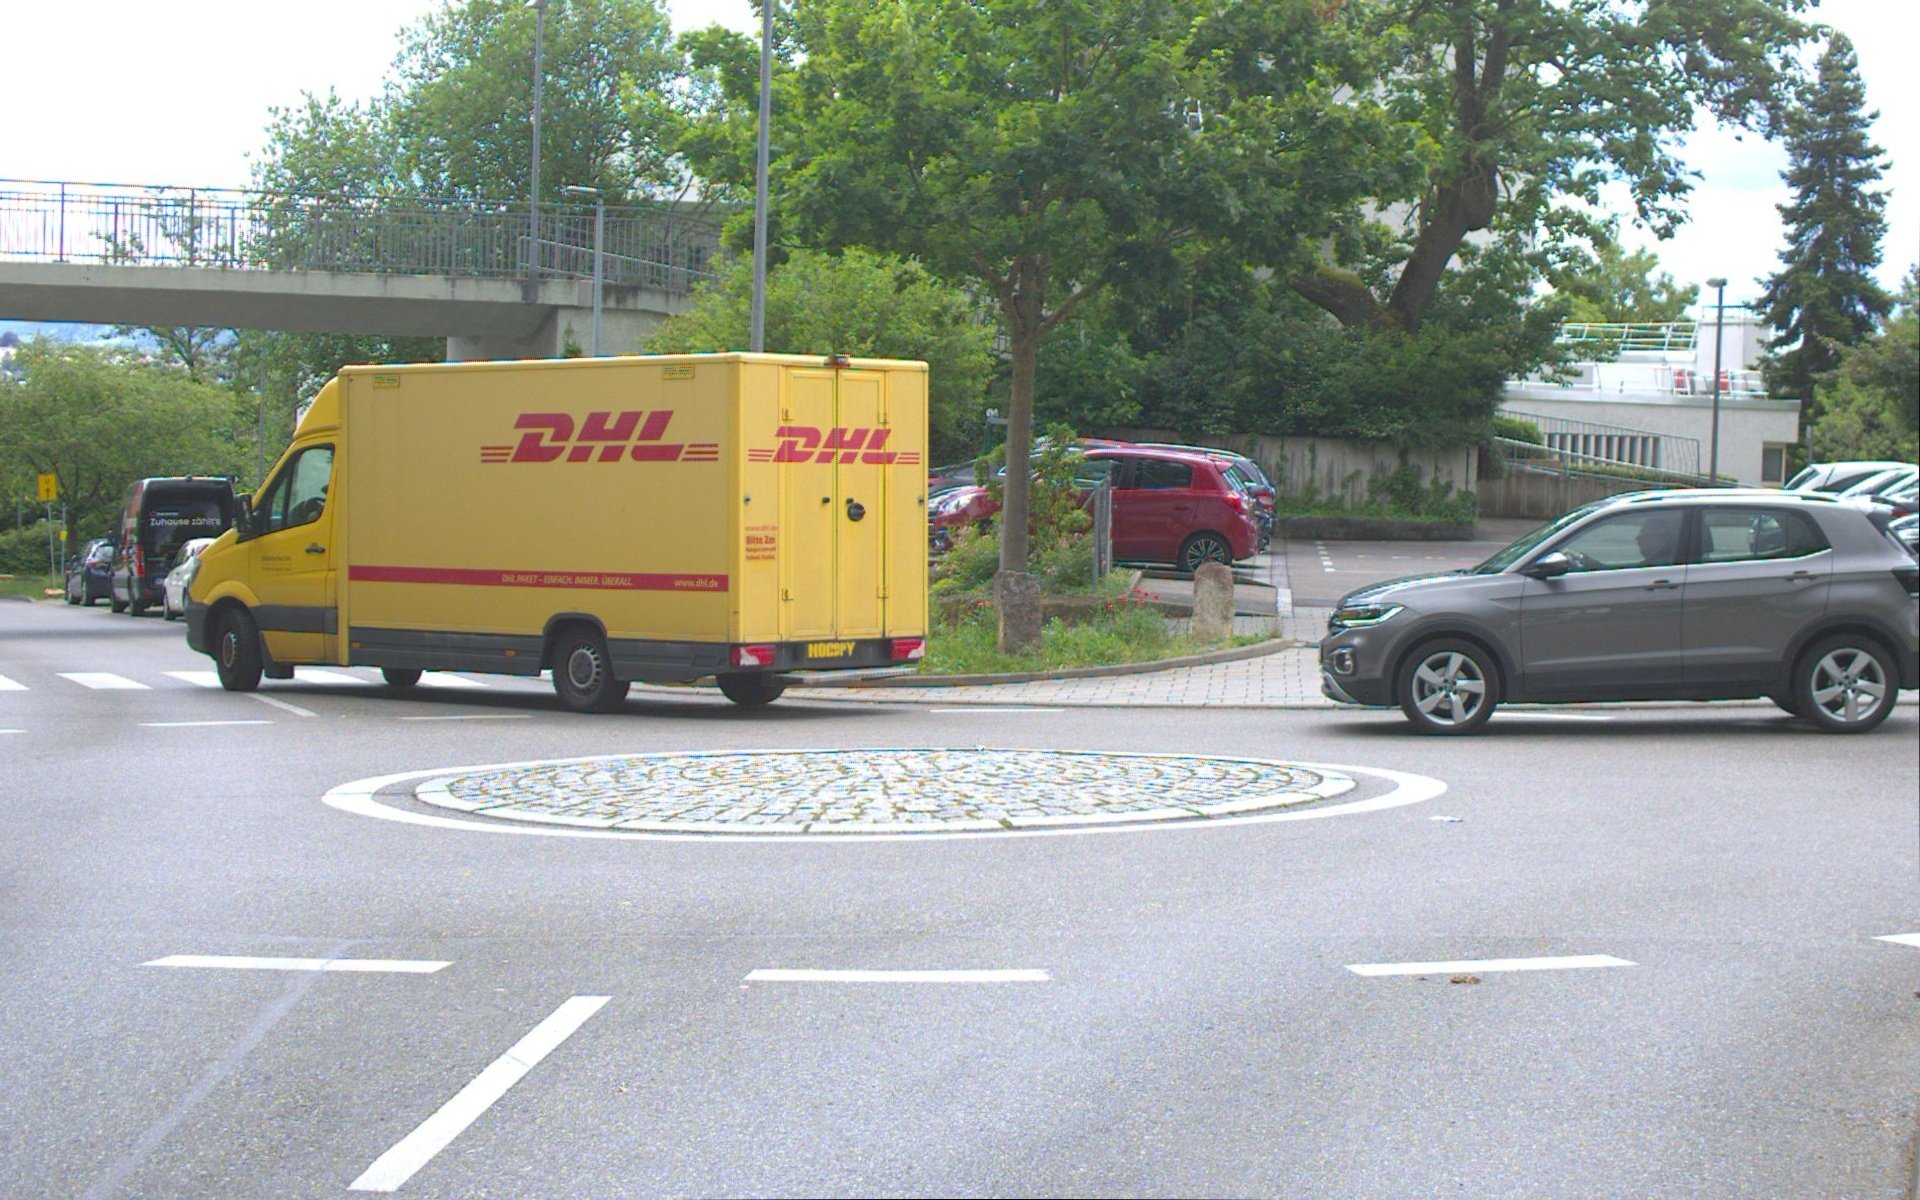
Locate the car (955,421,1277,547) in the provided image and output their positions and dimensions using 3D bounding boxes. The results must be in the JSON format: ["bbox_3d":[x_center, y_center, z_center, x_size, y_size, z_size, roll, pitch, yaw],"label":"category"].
[{"bbox_3d":[2.243,-1.684,50.049,4.543,1.662,1.945,2,2,1],"label":"car"}]

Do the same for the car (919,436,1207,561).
[{"bbox_3d":[1.368,-1.334,45.065,3.650,1.493,1.684,2,2,3],"label":"car"}]

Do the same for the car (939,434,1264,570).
[{"bbox_3d":[1.648,-1.133,39.904,3.650,1.434,1.684,2,1,3],"label":"car"}]

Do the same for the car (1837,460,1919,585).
[{"bbox_3d":[12.620,-0.885,41.273,3.828,1.453,1.692,2,2,8],"label":"car"}]

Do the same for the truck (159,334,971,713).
[{"bbox_3d":[-3.326,-0.613,27.595,6.818,2.693,2.468,2,1,41],"label":"truck"}]

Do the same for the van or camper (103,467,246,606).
[{"bbox_3d":[-15.042,-1.193,65.627,1.993,2.514,5.472,-2,1,-19],"label":"van or camper"}]

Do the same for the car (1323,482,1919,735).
[{"bbox_3d":[4.434,0.037,22.936,3.997,1.612,1.722,0,1,6],"label":"car"}]

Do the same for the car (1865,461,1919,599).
[{"bbox_3d":[12.414,-0.737,38.745,4.042,1.512,1.755,2,2,8],"label":"car"}]

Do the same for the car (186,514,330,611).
[{"bbox_3d":[-11.255,-0.604,54.944,1.699,1.491,4.120,0,1,-19],"label":"car"}]

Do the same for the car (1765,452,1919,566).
[{"bbox_3d":[13.429,-1.246,48.324,3.982,1.512,1.756,2,2,10],"label":"car"}]

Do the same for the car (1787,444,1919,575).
[{"bbox_3d":[12.722,-1.105,43.534,4.120,1.588,1.692,2,2,6],"label":"car"}]

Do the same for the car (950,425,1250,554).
[{"bbox_3d":[1.897,-1.519,47.342,3.987,1.608,1.945,2,2,1],"label":"car"}]
